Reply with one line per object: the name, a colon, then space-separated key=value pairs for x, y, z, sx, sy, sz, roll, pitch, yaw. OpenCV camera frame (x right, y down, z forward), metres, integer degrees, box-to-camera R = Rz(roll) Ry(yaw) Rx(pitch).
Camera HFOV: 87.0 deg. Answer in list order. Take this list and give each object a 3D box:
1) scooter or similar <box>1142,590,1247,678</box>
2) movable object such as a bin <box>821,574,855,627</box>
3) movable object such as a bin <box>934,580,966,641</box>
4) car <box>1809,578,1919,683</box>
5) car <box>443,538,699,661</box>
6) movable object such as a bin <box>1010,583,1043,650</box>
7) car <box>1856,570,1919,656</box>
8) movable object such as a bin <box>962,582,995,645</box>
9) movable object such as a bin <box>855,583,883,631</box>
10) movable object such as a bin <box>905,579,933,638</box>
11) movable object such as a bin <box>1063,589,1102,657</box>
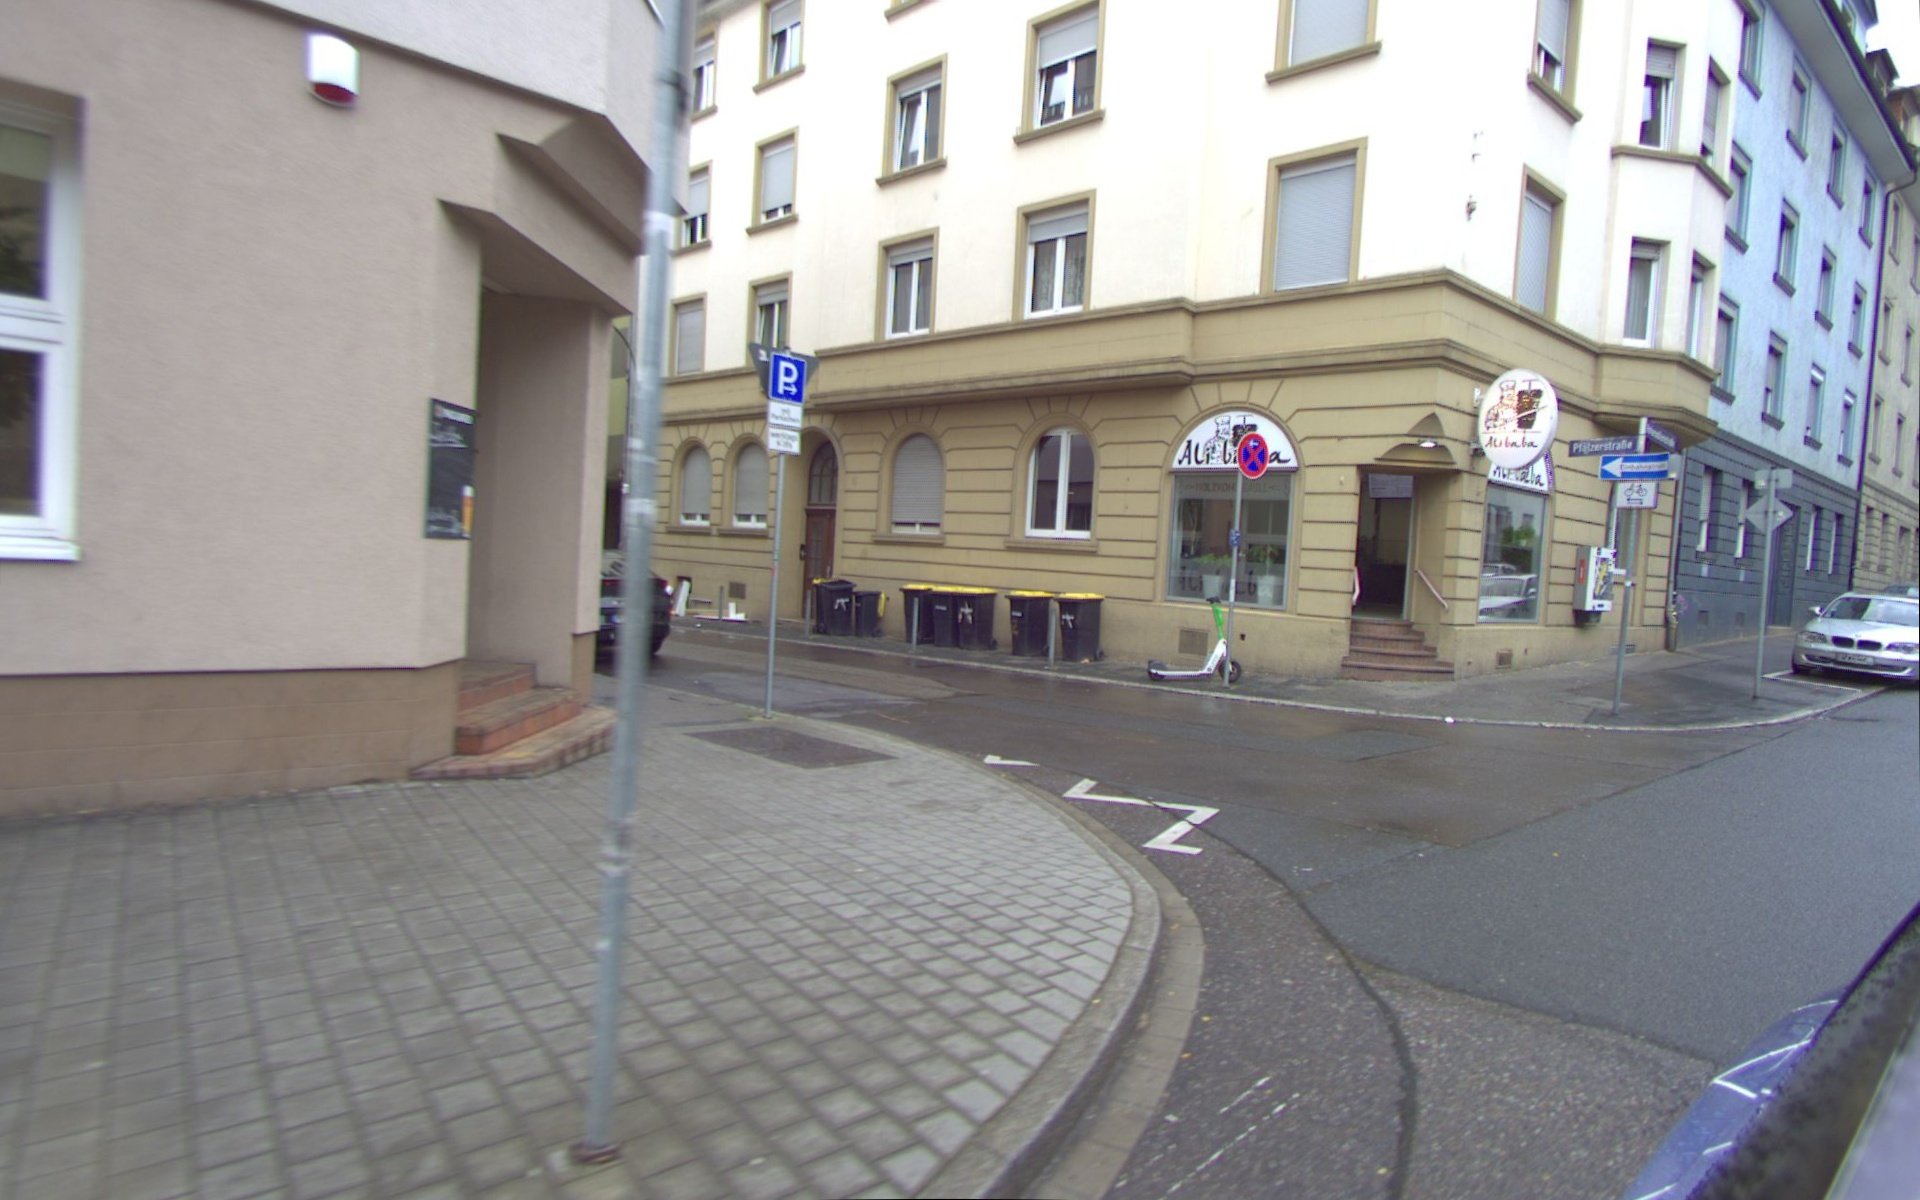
scooter or similar: x=3.179 y=0.454 z=13.794 sx=1.354 sy=1.142 sz=0.466 roll=0 pitch=5 yaw=9
movable object such as a bin: x=-2.374 y=-0.005 z=19.642 sx=0.494 sy=1.007 sz=0.448 roll=-2 pitch=2 yaw=-36
movable object such as a bin: x=-0.175 y=0.179 z=18.039 sx=0.348 sy=1.058 sz=0.453 roll=1 pitch=2 yaw=45
car: x=15.894 y=0.442 z=17.065 sx=4.016 sy=1.481 sz=1.574 roll=-1 pitch=6 yaw=-39
car: x=-5.997 y=-0.120 z=15.415 sx=3.984 sy=1.570 sz=2.018 roll=4 pitch=4 yaw=41
movable object such as a bin: x=1.103 y=0.256 z=16.723 sx=0.347 sy=1.079 sz=0.436 roll=1 pitch=2 yaw=40
car: x=20.133 y=0.260 z=20.772 sx=4.216 sy=1.576 sz=1.824 roll=-1 pitch=6 yaw=-39
movable object such as a bin: x=0.322 y=0.229 z=17.615 sx=0.347 sy=1.058 sz=0.454 roll=4 pitch=5 yaw=41
movable object such as a bin: x=-1.778 y=0.133 z=19.697 sx=0.417 sy=0.902 sz=0.336 roll=-2 pitch=2 yaw=-45
movable object such as a bin: x=-0.747 y=0.142 z=18.525 sx=0.332 sy=1.058 sz=0.386 roll=-2 pitch=2 yaw=-45
movable object such as a bin: x=1.937 y=0.350 z=16.049 sx=0.515 sy=1.058 sz=0.343 roll=0 pitch=1 yaw=-39
